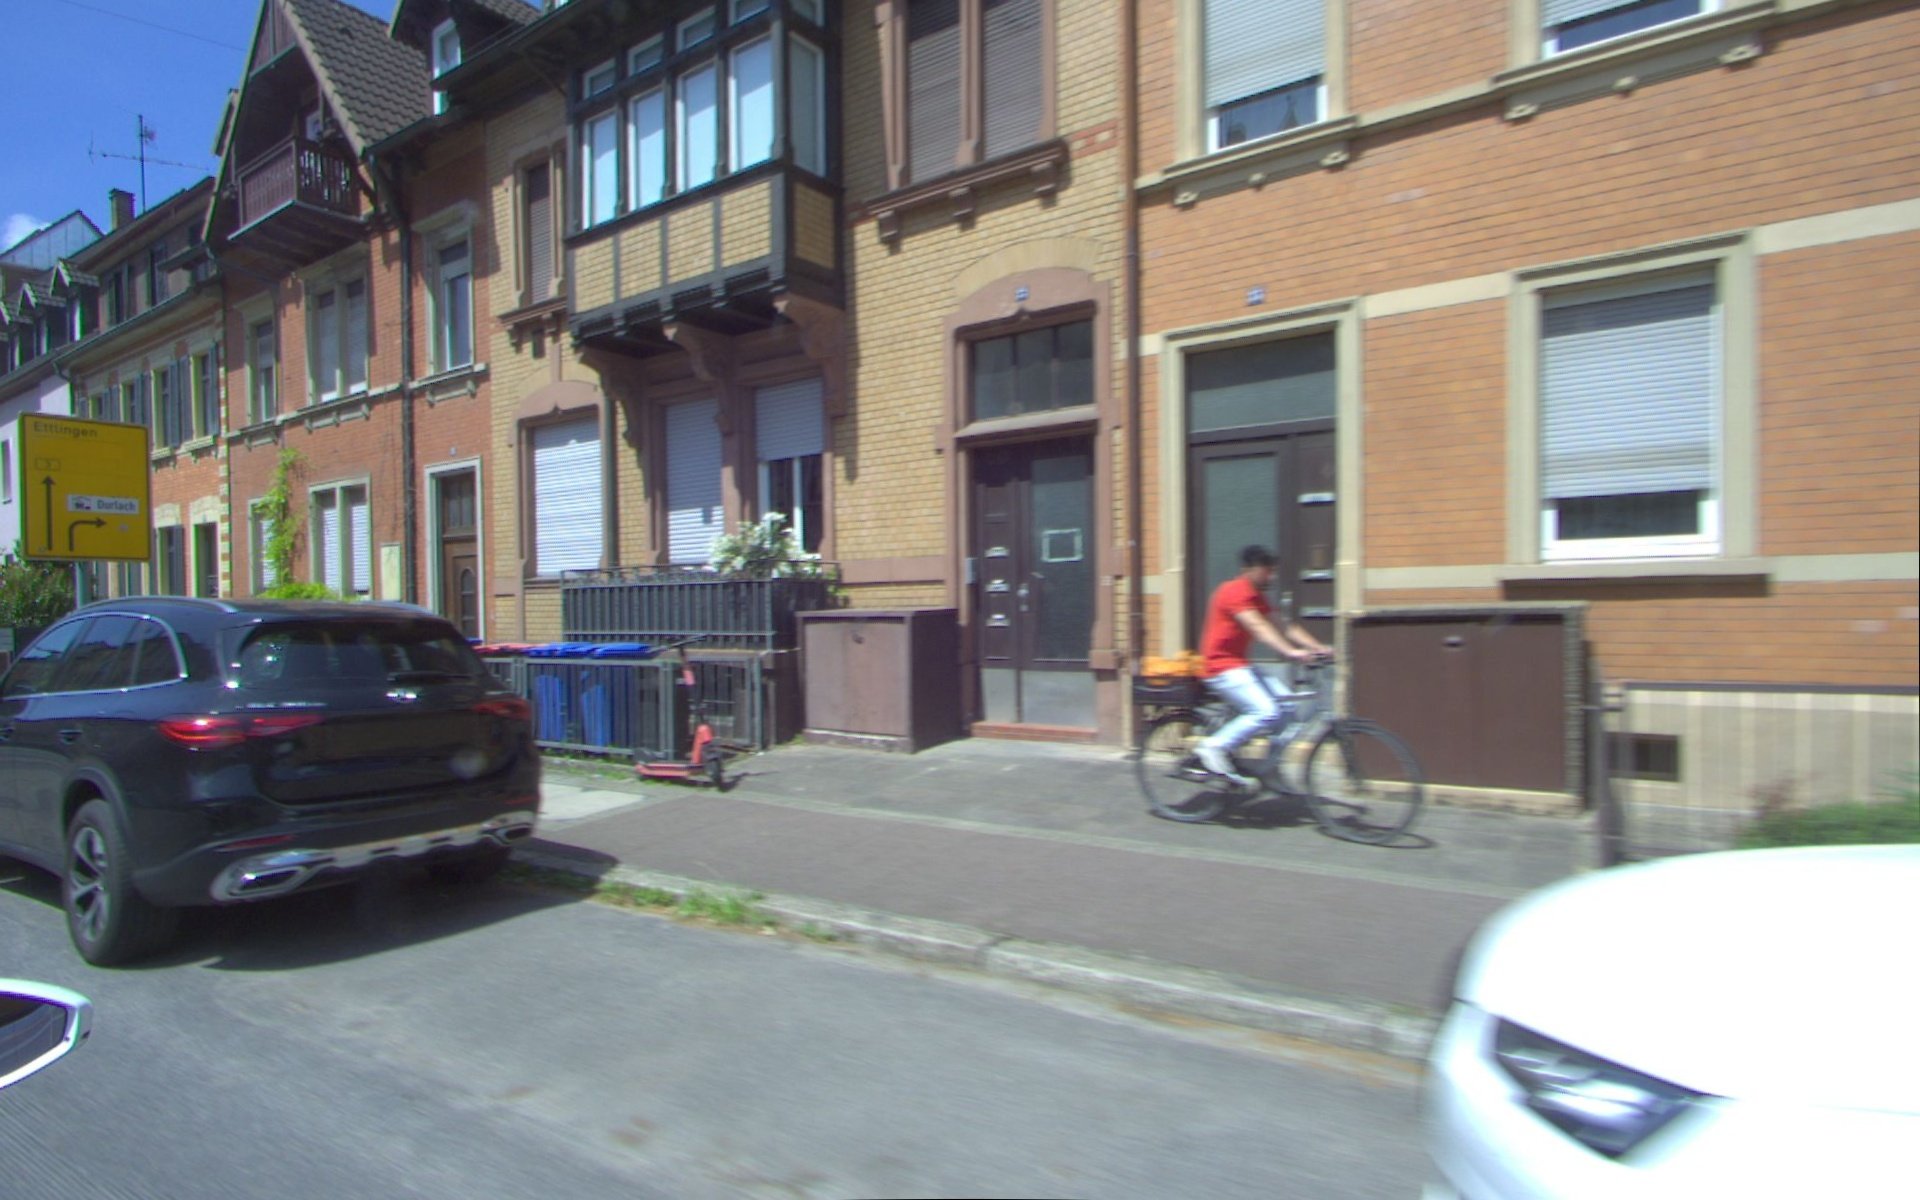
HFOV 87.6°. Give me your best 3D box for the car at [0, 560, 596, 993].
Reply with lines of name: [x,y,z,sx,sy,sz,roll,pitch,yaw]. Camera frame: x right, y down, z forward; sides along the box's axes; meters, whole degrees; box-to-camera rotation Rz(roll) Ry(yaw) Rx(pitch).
car: [-4.475,0.733,5.981,4.561,1.684,1.989,-1,0,33]

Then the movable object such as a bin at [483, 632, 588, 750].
movable object such as a bin: [-4.231,0.880,10.014,0.545,1.103,0.786,-1,0,30]

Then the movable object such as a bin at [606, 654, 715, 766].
movable object such as a bin: [-2.706,0.972,9.087,0.531,0.919,0.786,-1,0,30]

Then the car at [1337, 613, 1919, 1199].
car: [2.964,0.726,1.090,4.525,1.433,1.712,-1,0,33]

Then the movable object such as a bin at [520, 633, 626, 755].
movable object such as a bin: [-3.739,0.883,9.714,0.535,1.103,0.786,-1,0,30]

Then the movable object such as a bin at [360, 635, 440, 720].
movable object such as a bin: [-7.365,0.997,13.167,0.738,1.068,0.657,-1,0,34]

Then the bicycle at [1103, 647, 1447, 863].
bicycle: [1.827,0.840,5.947,1.856,1.080,0.592,-1,0,34]

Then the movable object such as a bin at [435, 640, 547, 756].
movable object such as a bin: [-4.824,0.981,10.316,0.676,1.103,0.786,-1,0,30]

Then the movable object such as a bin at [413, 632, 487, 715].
movable object such as a bin: [-6.989,0.991,13.728,0.751,1.091,0.607,-1,0,34]

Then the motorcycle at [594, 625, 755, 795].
motorcycle: [-2.301,0.832,8.011,1.338,1.254,0.439,-1,1,33]

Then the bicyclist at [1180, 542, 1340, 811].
bicyclist: [1.790,0.431,5.971,0.780,1.489,0.531,-1,0,34]

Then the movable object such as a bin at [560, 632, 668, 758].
movable object such as a bin: [-3.248,0.864,9.431,0.531,1.103,0.786,-1,0,30]
